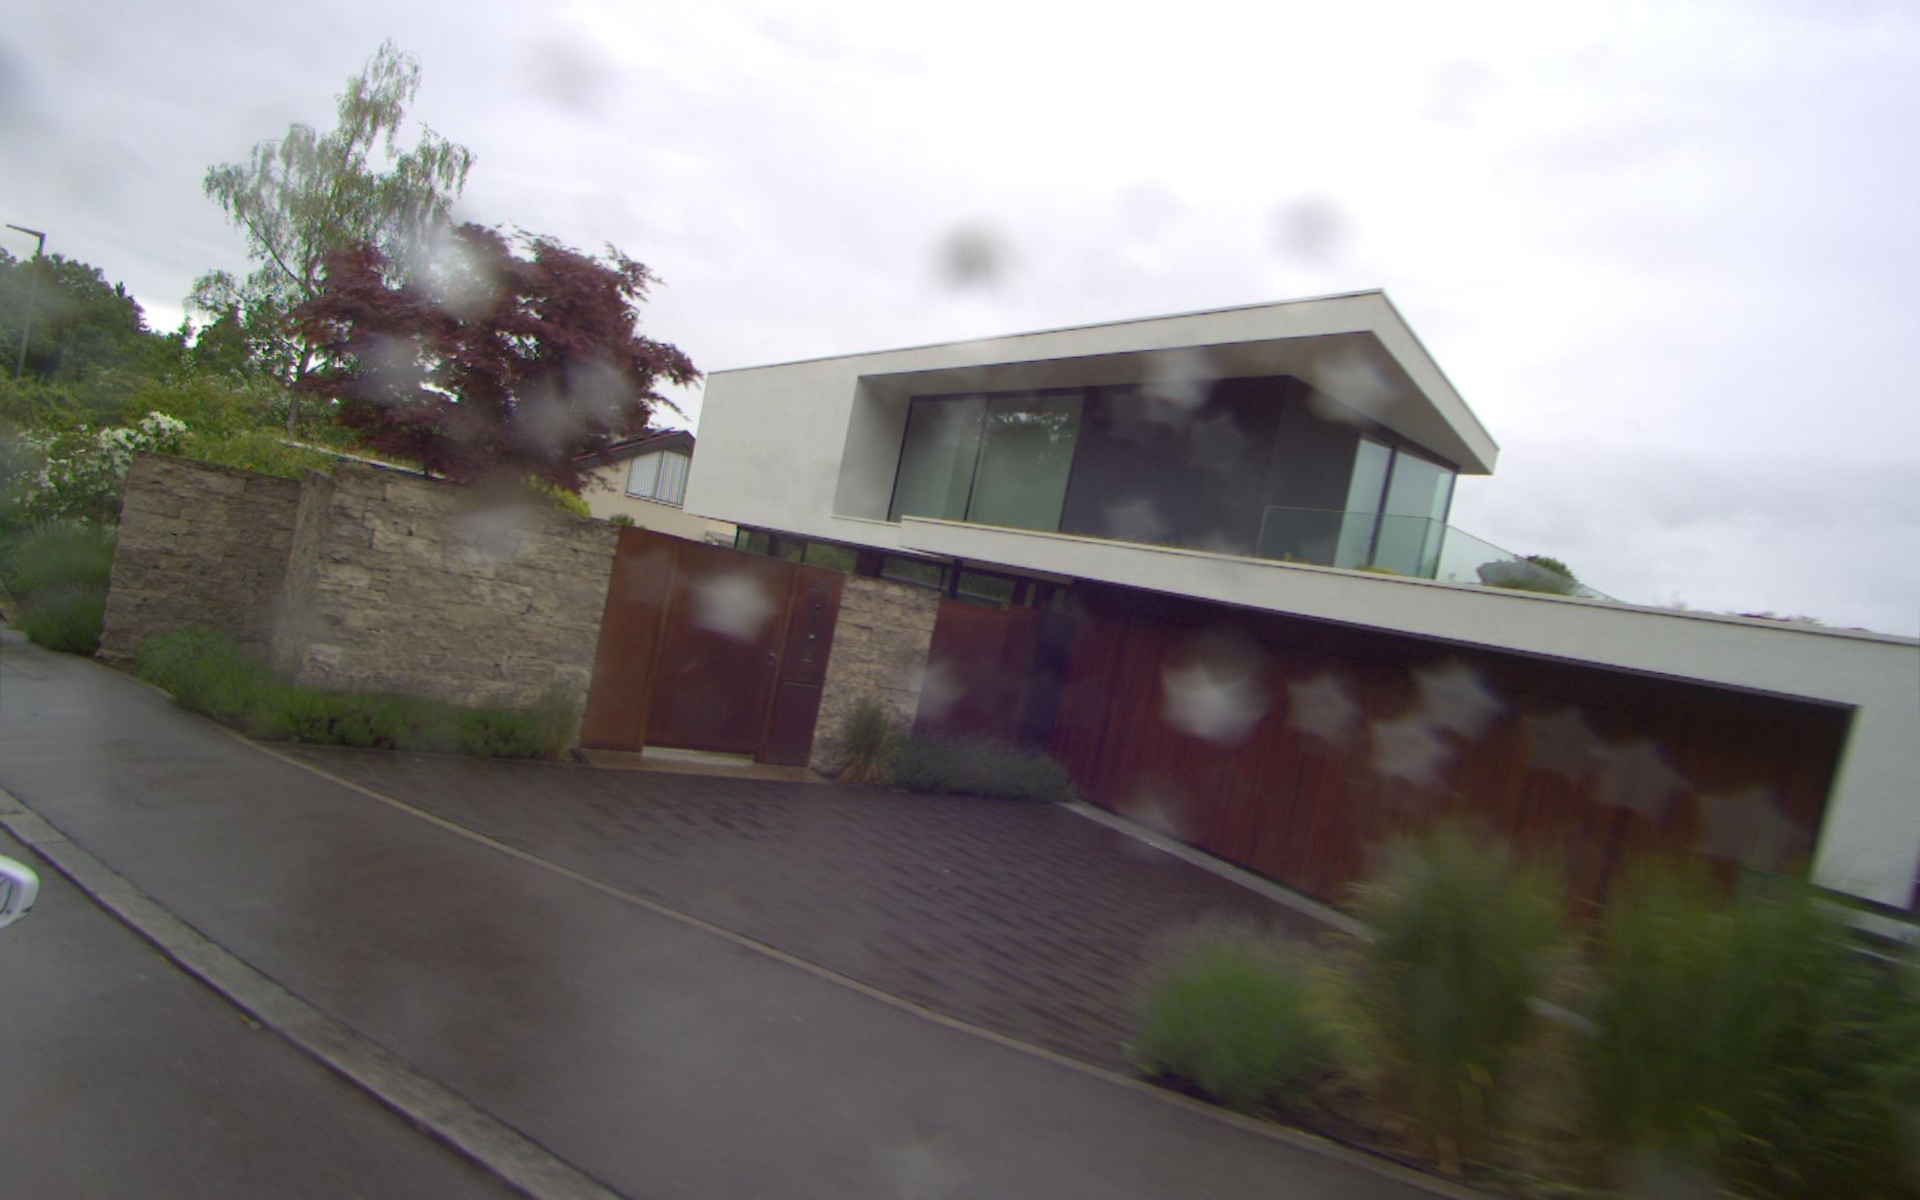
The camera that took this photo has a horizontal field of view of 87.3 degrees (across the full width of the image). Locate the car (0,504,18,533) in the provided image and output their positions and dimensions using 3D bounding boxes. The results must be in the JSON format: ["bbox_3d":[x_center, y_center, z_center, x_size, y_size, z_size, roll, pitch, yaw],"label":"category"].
[{"bbox_3d":[-54.877,-4.808,55.670,1.971,1.524,4.558,10,-4,-16],"label":"car"}]
